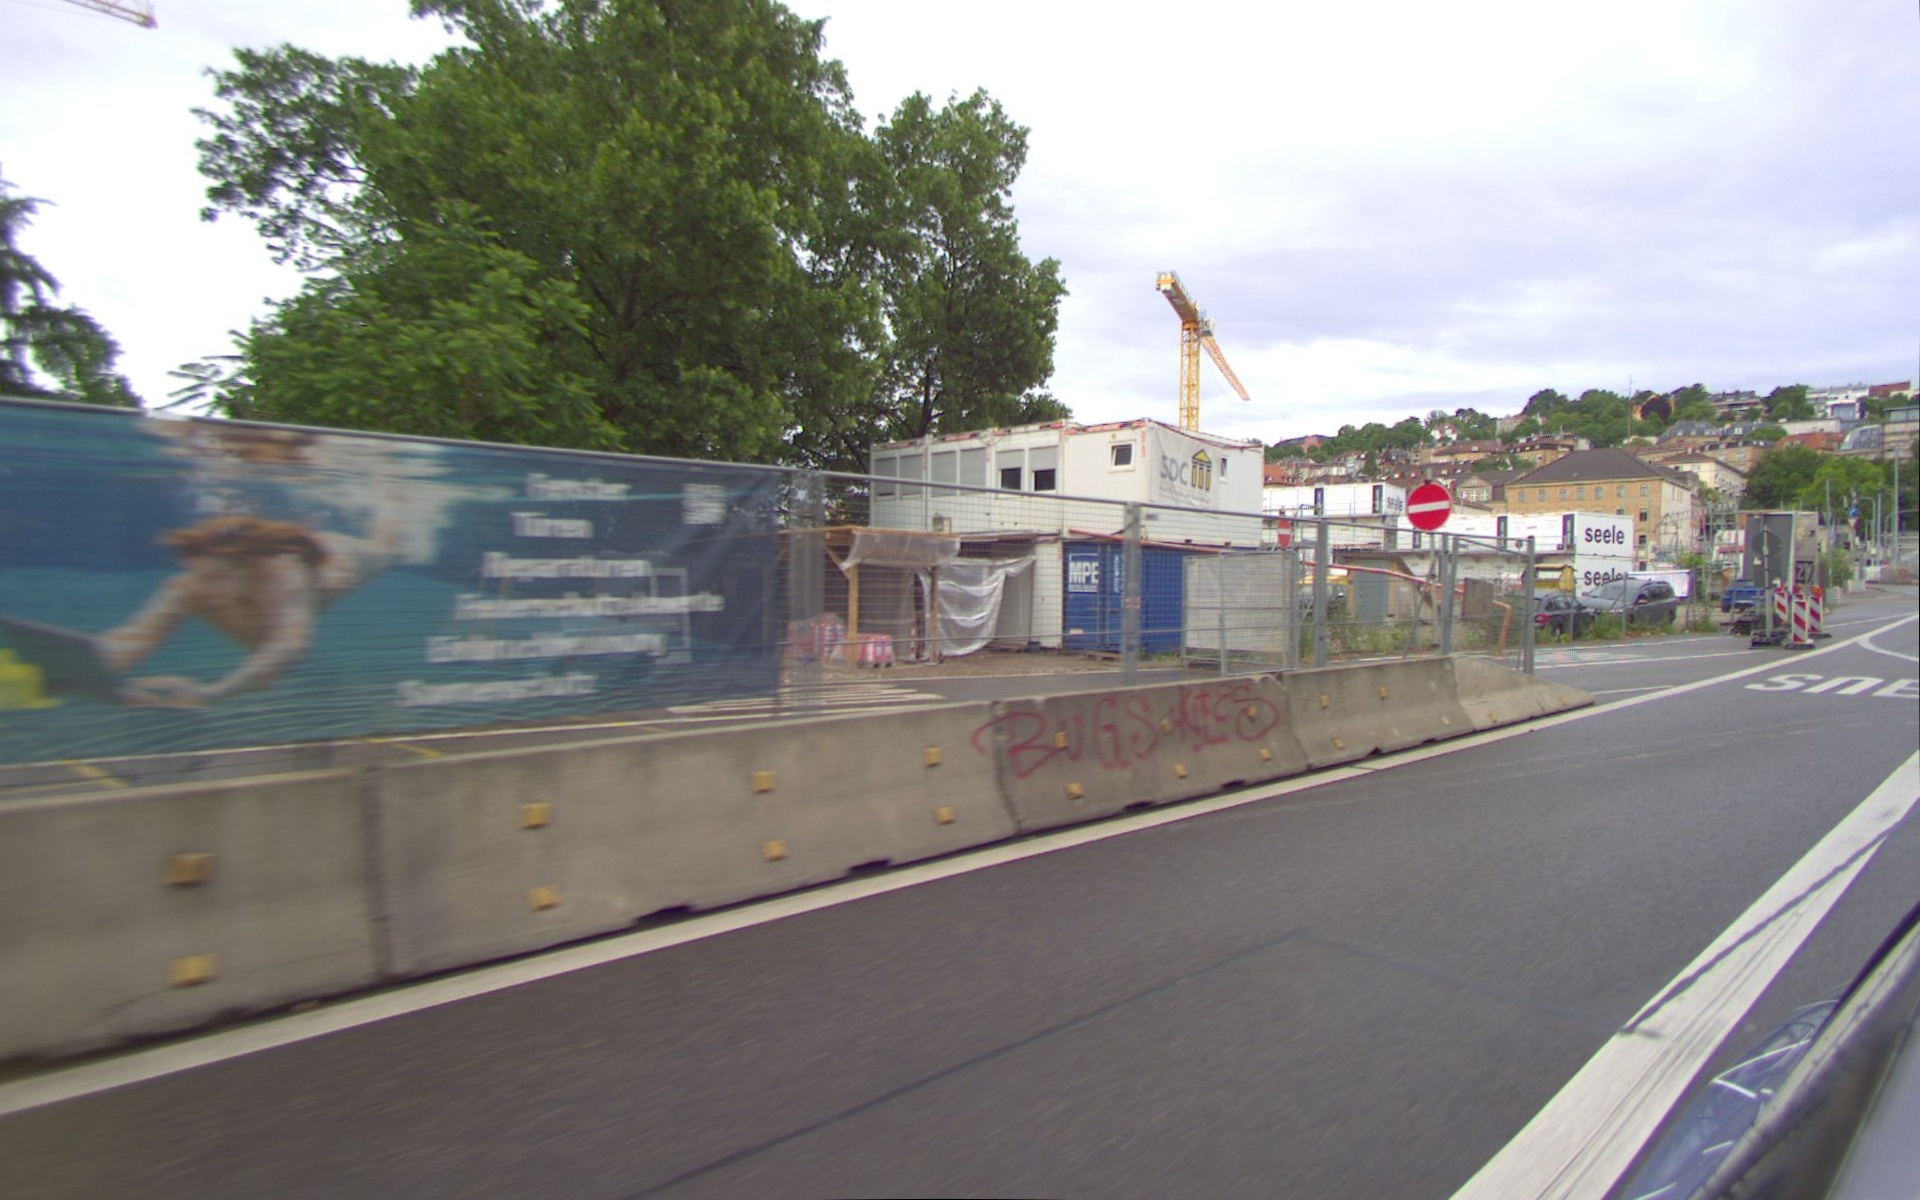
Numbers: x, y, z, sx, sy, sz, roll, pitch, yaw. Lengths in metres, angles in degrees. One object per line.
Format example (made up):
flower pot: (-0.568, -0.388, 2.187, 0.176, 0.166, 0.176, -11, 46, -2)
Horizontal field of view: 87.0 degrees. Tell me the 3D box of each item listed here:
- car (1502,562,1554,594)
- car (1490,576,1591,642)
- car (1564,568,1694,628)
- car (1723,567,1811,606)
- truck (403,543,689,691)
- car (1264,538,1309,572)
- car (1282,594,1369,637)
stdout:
car: (36.357, -1.449, 64.745, 2.011, 1.924, 4.588, 3, 4, 40)
car: (17.286, 0.197, 30.061, 1.850, 1.501, 3.944, 4, 7, 41)
car: (21.942, -0.130, 33.158, 4.328, 1.668, 1.931, -2, 7, -34)
car: (32.742, -0.559, 41.038, 4.333, 1.459, 1.837, -2, 1, -38)
truck: (-6.905, 0.131, 16.594, 5.152, 2.038, 2.373, 2, 3, 43)
car: (25.213, -3.507, 78.114, 1.987, 2.471, 4.925, 3, 4, 34)
car: (13.505, 0.530, 37.316, 1.710, 1.322, 3.942, 0, 2, 41)
